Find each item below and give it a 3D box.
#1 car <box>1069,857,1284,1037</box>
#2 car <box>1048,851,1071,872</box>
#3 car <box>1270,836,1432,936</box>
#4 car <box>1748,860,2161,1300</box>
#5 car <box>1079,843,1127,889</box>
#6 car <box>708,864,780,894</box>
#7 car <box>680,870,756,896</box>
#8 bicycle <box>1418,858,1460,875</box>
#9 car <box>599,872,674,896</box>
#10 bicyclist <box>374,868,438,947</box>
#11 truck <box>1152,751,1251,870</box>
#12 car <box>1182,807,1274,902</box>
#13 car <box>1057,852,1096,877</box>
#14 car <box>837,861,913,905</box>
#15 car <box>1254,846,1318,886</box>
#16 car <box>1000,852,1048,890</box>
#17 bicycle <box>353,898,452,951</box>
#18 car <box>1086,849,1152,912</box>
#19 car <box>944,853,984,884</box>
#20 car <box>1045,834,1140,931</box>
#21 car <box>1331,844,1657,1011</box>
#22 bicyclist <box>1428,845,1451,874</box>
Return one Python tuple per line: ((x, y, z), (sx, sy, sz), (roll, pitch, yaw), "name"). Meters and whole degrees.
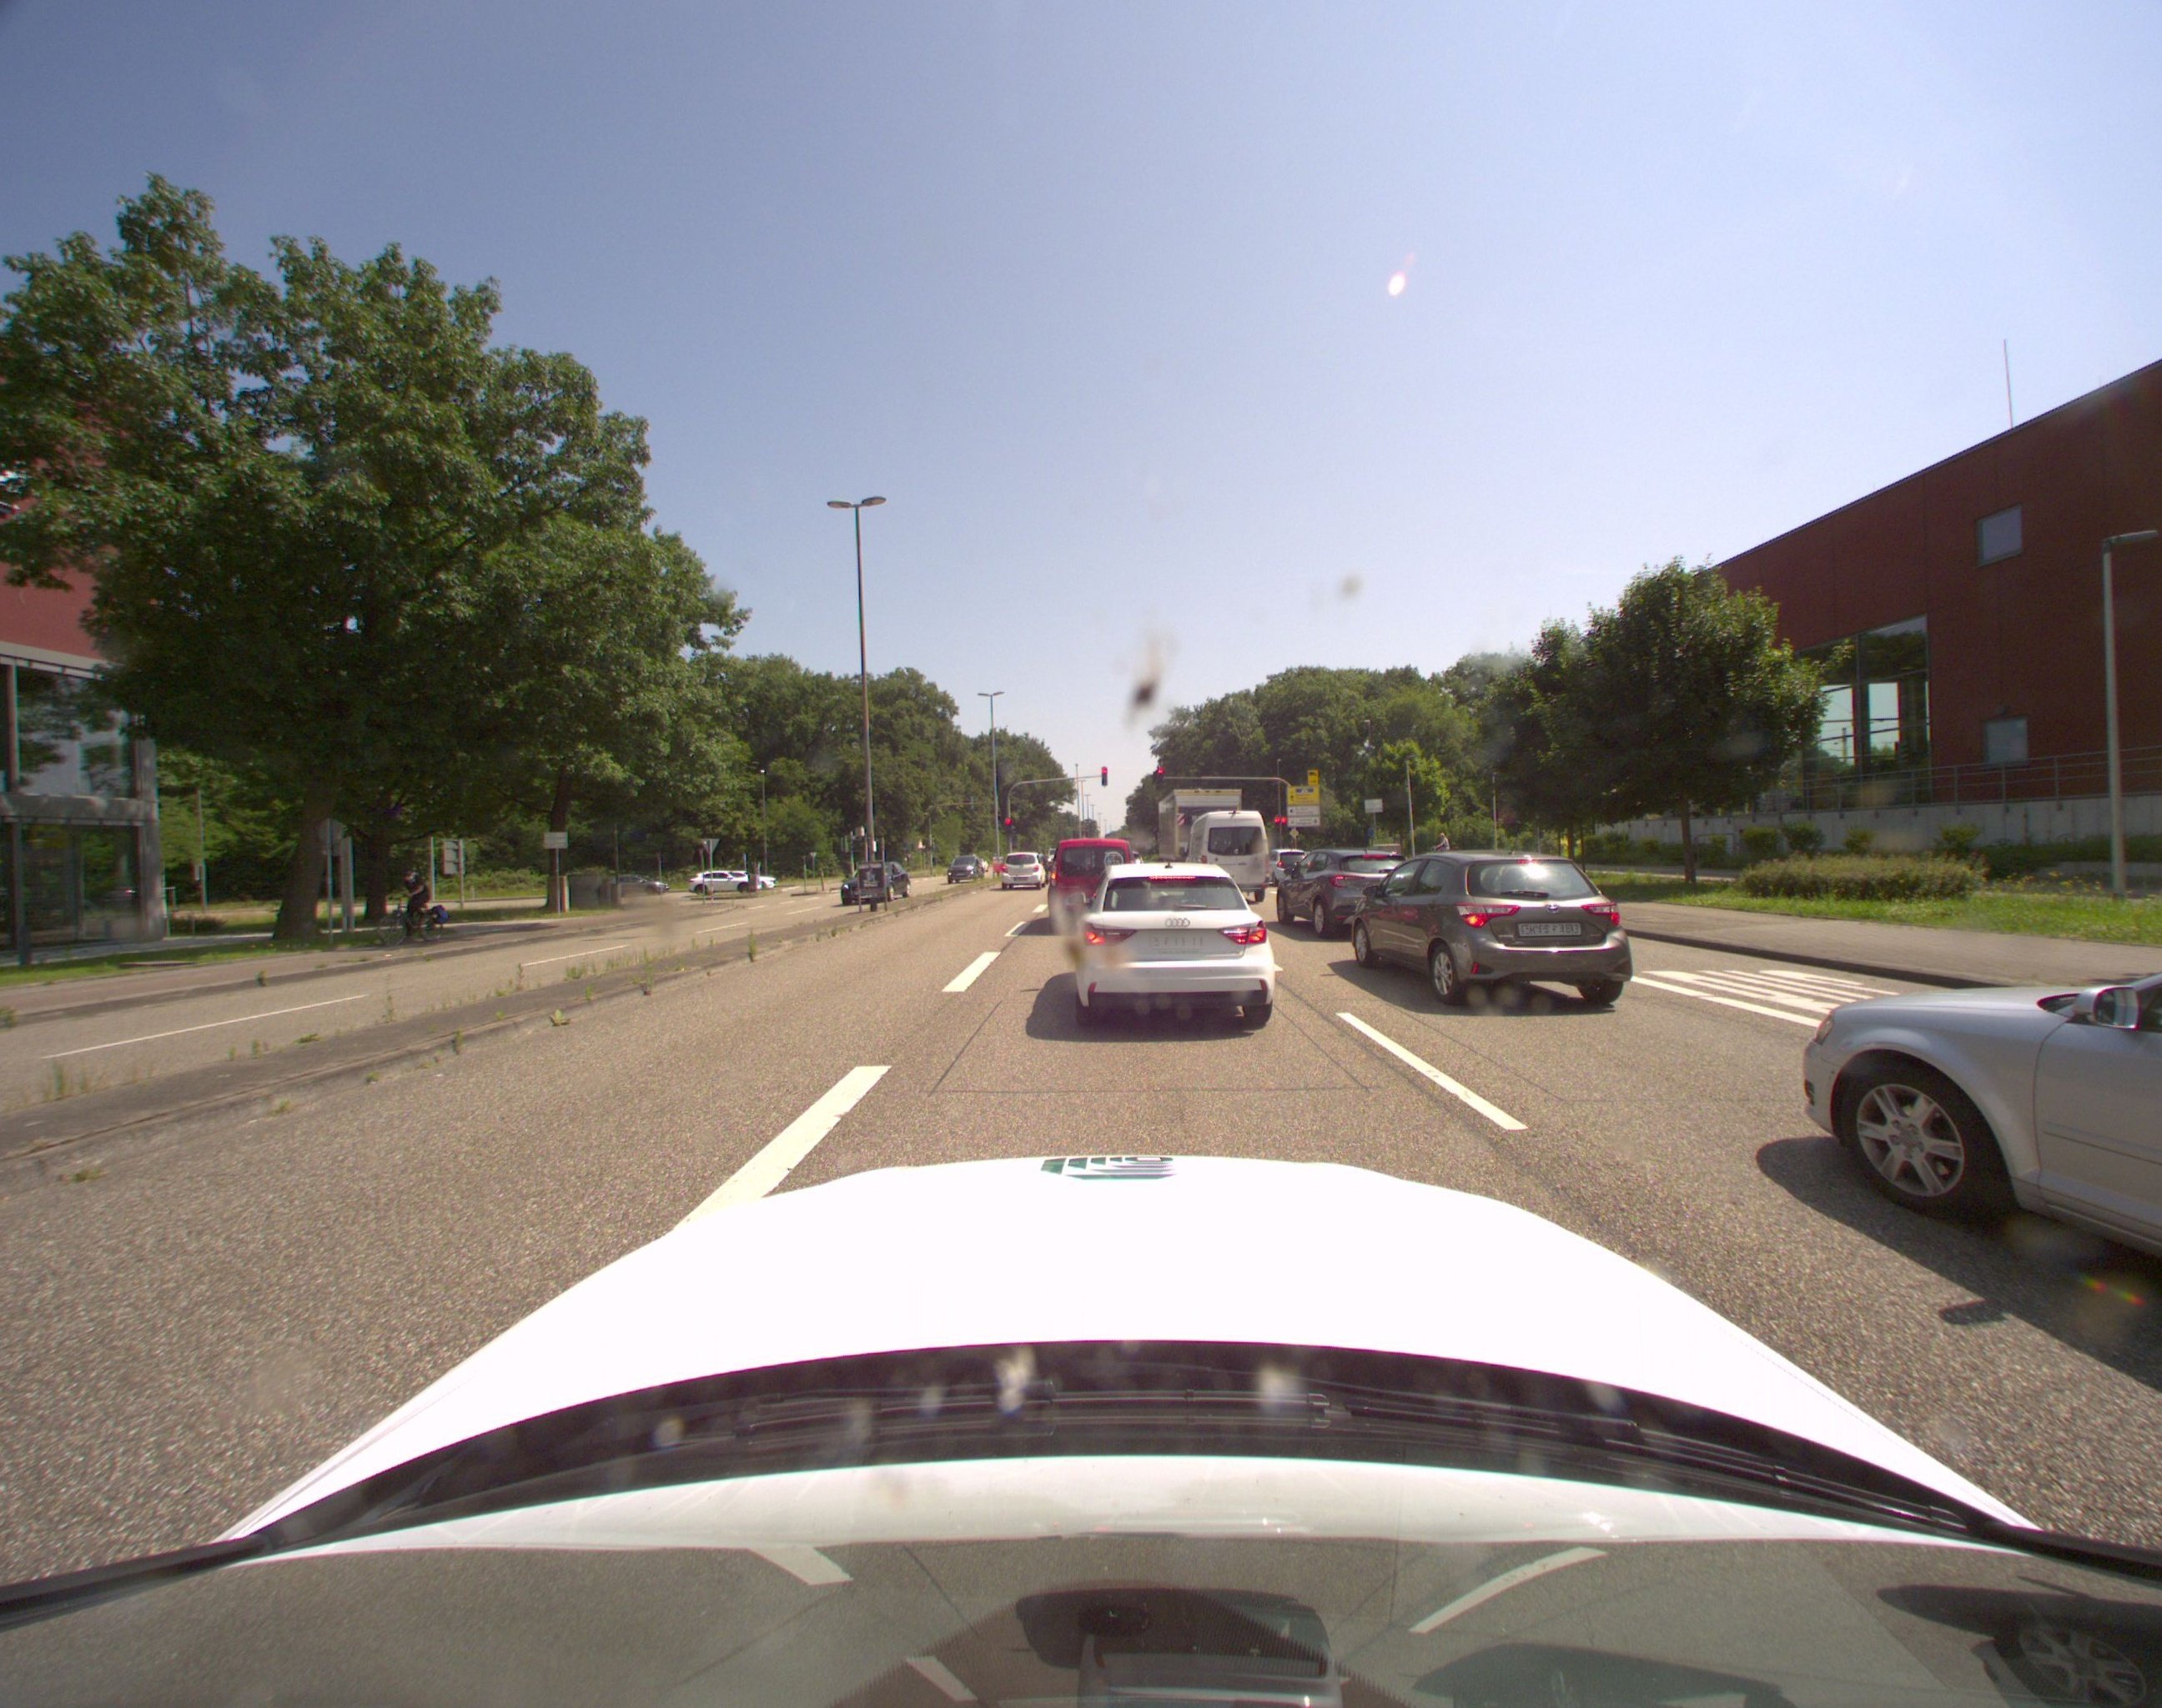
((0.780, 0.754, 8.584), (1.706, 1.386, 4.091), (-1, 0, 0), "car")
((-2.134, 0.716, 80.688), (1.990, 2.013, 3.993), (-2, 0, -5), "car")
((4.884, 0.513, 15.339), (1.706, 1.593, 4.091), (-1, 0, 0), "car")
((4.236, 0.717, 2.109), (1.706, 1.362, 4.091), (0, 0, 0), "car")
((0.798, 0.414, 31.276), (1.706, 1.631, 4.091), (-1, 0, 0), "car")
((-24.622, 1.809, 59.607), (4.366, 1.681, 1.806), (-5, 0, -7), "car")
((-24.792, 1.991, 55.776), (4.365, 1.681, 1.806), (0, -1, -7), "car")
((17.922, 0.610, 40.776), (1.813, 0.766, 0.601), (-2, 0, 4), "bicycle")
((-32.119, 2.160, 58.978), (4.370, 1.681, 1.804), (0, -1, -10), "car")
((-15.763, 1.222, 19.034), (0.647, 1.770, 0.928), (-2, 0, 2), "bicyclist")
((5.052, -1.667, 36.505), (3.077, 4.434, 11.585), (-1, 0, 2), "truck")
((4.435, 0.011, 25.311), (2.024, 2.644, 4.846), (-1, 0, 1), "car")
((-0.408, 0.869, 70.225), (2.001, 2.013, 3.971), (-2, 0, -22), "car")
((-7.469, 1.011, 29.879), (1.673, 1.339, 4.000), (-5, 0, 0), "car")
((8.652, 0.472, 34.691), (1.706, 1.546, 4.091), (-1, 0, 0), "car")
((-2.348, 0.665, 34.587), (1.706, 1.492, 4.091), (-1, 0, 0), "car")
((-15.754, 1.618, 18.978), (0.652, 1.051, 1.885), (-2, 0, 2), "bicycle")
((1.022, 0.703, 23.528), (1.706, 1.631, 4.091), (-1, 0, 0), "car")
((-6.887, 0.836, 48.374), (1.681, 1.600, 3.885), (-5, 0, 0), "car")
((0.228, 0.511, 16.956), (1.706, 1.748, 4.091), (-1, 0, 0), "car")
((4.387, 0.663, 9.444), (1.706, 1.478, 4.091), (2, 0, 0), "car")
((17.954, 0.274, 40.783), (0.822, 1.439, 0.600), (-2, 0, 5), "bicyclist")
